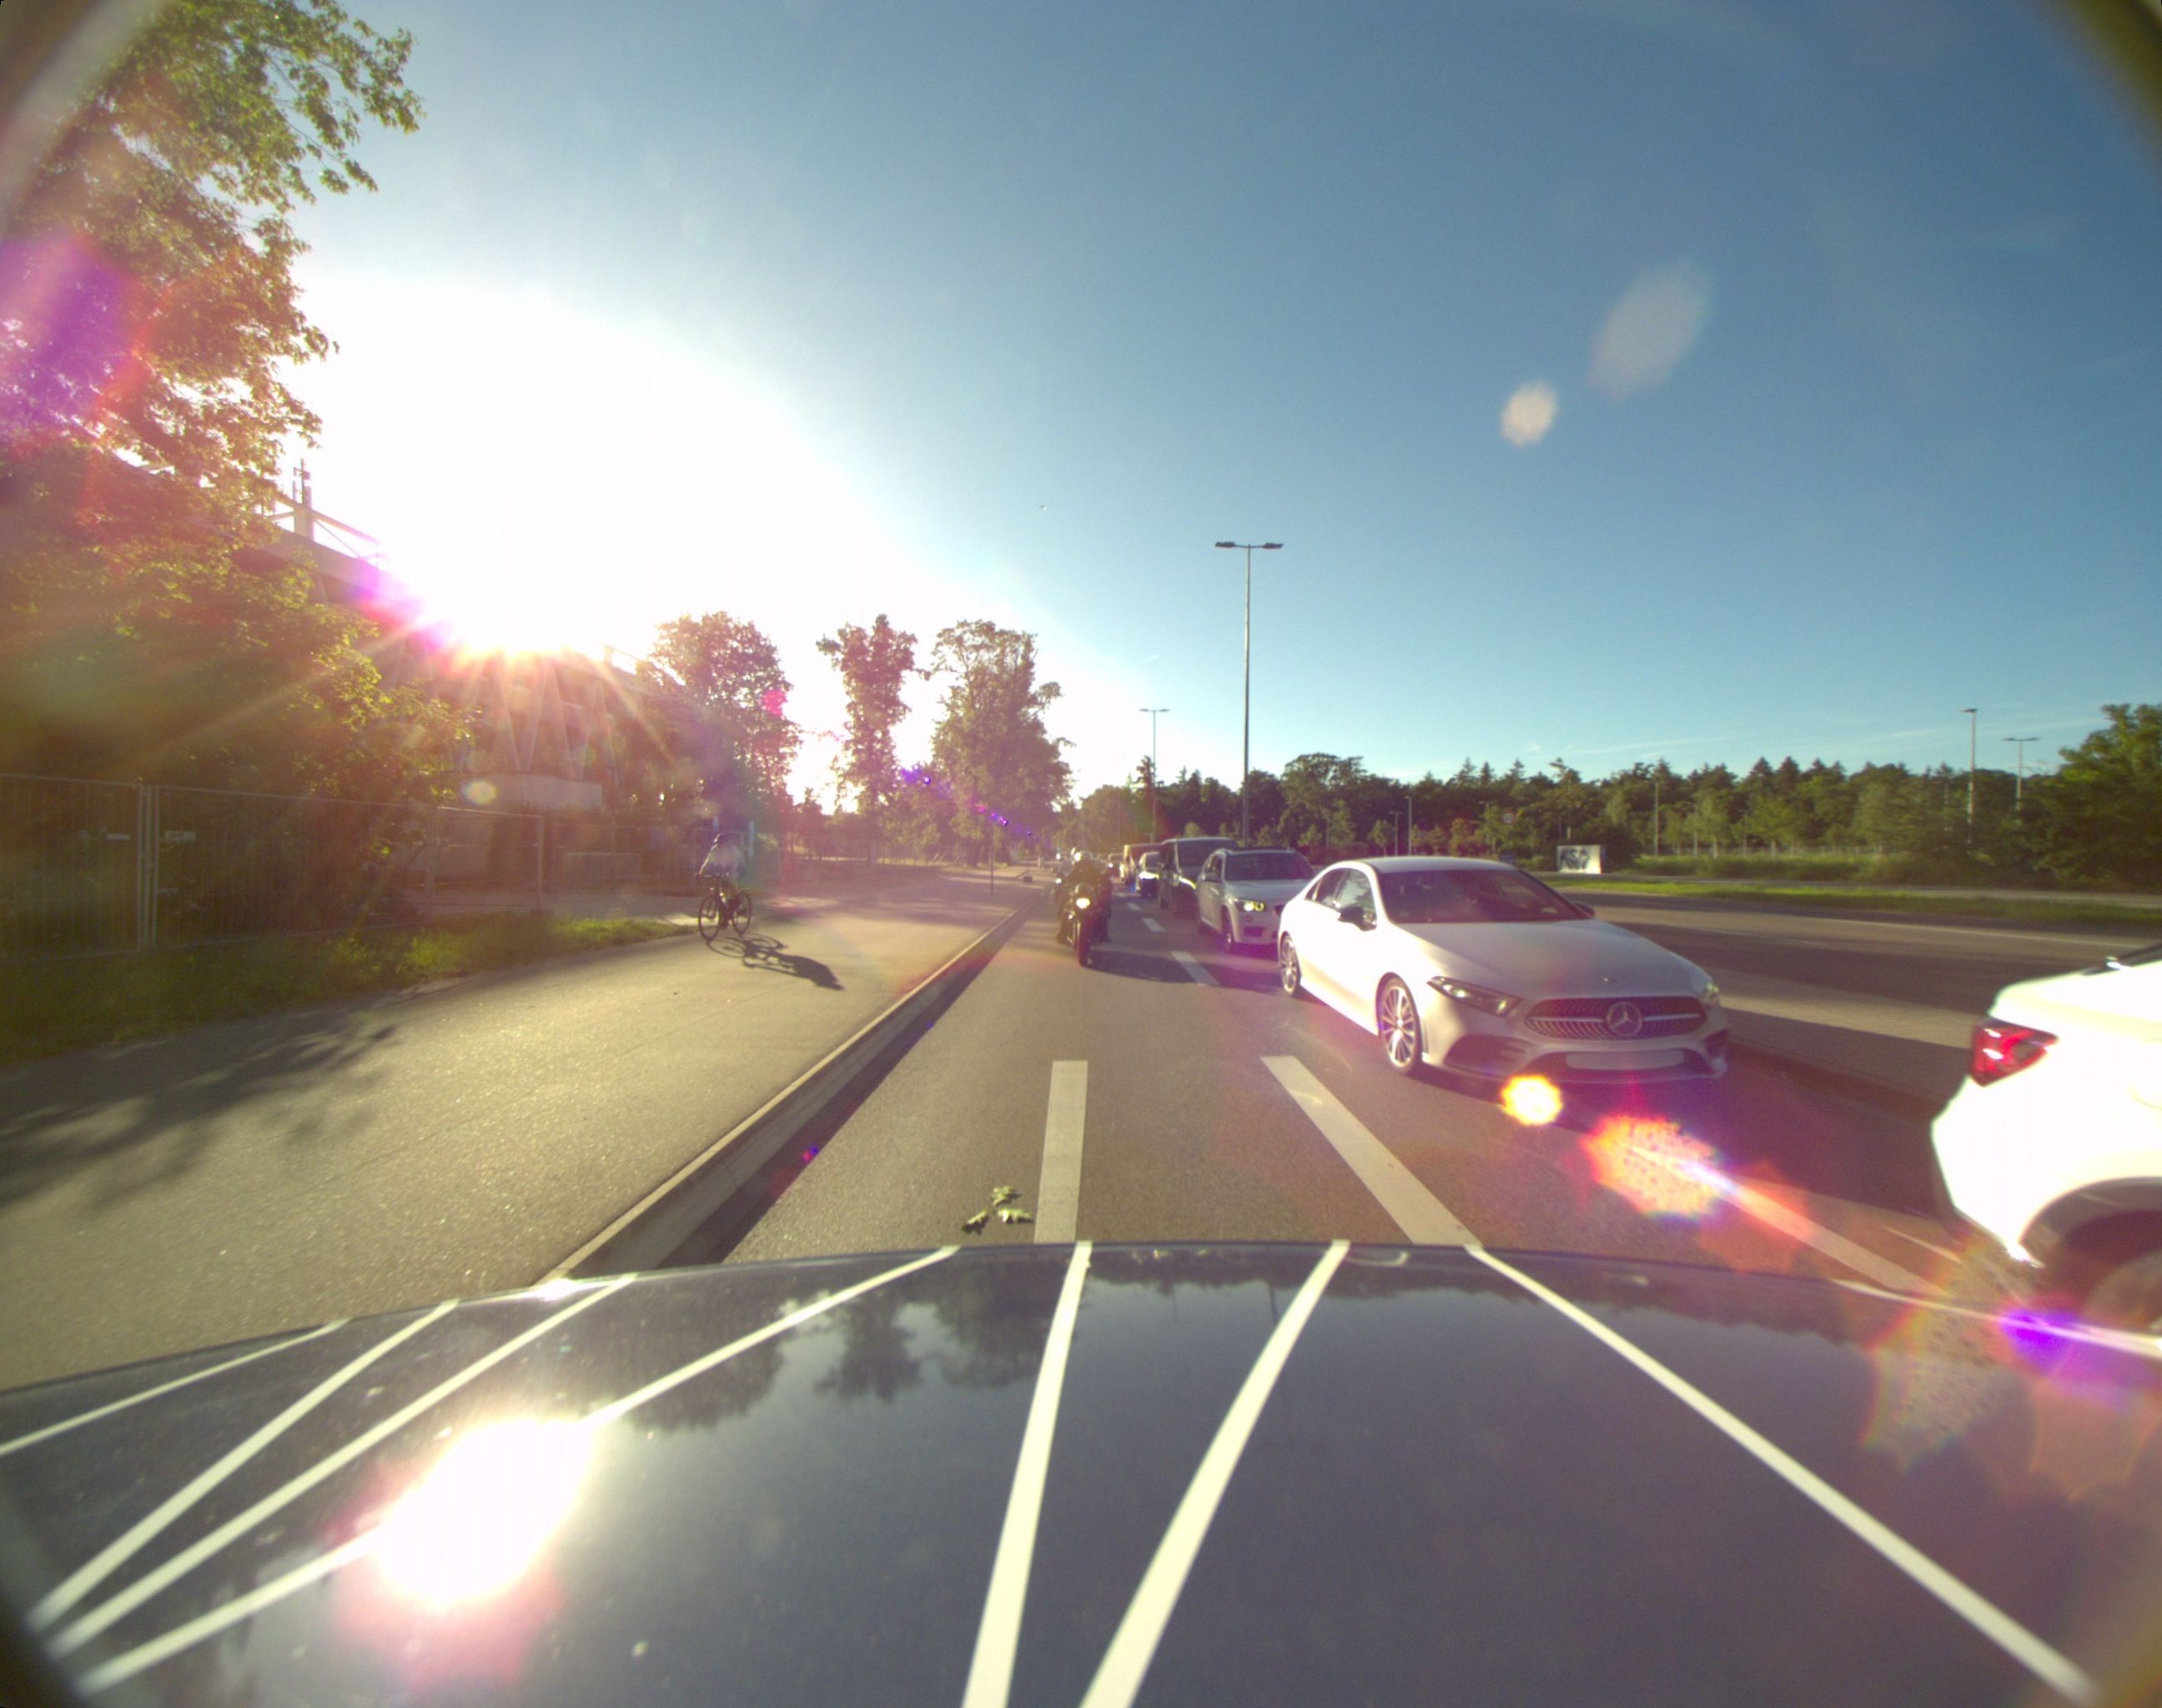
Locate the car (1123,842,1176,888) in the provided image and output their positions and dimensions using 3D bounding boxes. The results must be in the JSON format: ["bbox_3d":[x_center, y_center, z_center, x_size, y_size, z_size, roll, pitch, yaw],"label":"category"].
[{"bbox_3d":[3.051,0.456,34.799,1.867,1.882,5.067,-2,0,-1],"label":"car"}]

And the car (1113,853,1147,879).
[{"bbox_3d":[2.869,0.667,44.978,1.605,1.389,4.639,-2,1,-1],"label":"car"}]

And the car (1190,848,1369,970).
[{"bbox_3d":[2.945,0.723,12.242,1.797,1.574,4.321,-1,0,1],"label":"car"}]

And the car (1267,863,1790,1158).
[{"bbox_3d":[2.845,0.837,6.086,1.661,1.418,4.318,-1,0,1],"label":"car"}]

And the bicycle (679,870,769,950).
[{"bbox_3d":[-5.733,0.860,12.325,0.555,1.131,1.864,0,1,1],"label":"bicycle"}]

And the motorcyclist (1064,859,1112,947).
[{"bbox_3d":[0.107,0.718,11.510,0.671,1.257,0.826,-2,1,0],"label":"motorcyclist"}]

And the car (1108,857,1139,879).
[{"bbox_3d":[3.027,0.956,54.625,1.896,1.389,4.639,-2,1,-1],"label":"car"}]

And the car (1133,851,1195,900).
[{"bbox_3d":[2.930,0.711,27.480,1.736,1.560,4.103,-1,0,-1],"label":"car"}]

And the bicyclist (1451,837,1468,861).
[{"bbox_3d":[22.704,-0.324,45.568,0.593,1.405,0.800,-2,1,2],"label":"bicyclist"}]

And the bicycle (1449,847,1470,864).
[{"bbox_3d":[22.748,0.069,45.695,0.584,1.013,1.362,-2,1,1],"label":"bicycle"}]

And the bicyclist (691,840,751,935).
[{"bbox_3d":[-5.732,0.516,12.135,0.521,1.460,0.861,0,1,1],"label":"bicyclist"}]

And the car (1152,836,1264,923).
[{"bbox_3d":[3.034,0.550,19.289,1.885,1.862,5.234,-1,0,-1],"label":"car"}]

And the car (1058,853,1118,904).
[{"bbox_3d":[0.194,0.761,26.295,1.867,1.538,4.795,-1,0,-1],"label":"car"}]

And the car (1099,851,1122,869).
[{"bbox_3d":[2.638,0.529,68.962,1.896,1.479,4.639,-2,1,-1],"label":"car"}]

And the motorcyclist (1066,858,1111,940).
[{"bbox_3d":[0.118,0.709,12.360,0.671,1.257,0.826,-2,1,0],"label":"motorcyclist"}]

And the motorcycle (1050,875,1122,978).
[{"bbox_3d":[0.081,0.994,11.474,0.916,1.243,2.962,-2,0,1],"label":"motorcycle"}]
